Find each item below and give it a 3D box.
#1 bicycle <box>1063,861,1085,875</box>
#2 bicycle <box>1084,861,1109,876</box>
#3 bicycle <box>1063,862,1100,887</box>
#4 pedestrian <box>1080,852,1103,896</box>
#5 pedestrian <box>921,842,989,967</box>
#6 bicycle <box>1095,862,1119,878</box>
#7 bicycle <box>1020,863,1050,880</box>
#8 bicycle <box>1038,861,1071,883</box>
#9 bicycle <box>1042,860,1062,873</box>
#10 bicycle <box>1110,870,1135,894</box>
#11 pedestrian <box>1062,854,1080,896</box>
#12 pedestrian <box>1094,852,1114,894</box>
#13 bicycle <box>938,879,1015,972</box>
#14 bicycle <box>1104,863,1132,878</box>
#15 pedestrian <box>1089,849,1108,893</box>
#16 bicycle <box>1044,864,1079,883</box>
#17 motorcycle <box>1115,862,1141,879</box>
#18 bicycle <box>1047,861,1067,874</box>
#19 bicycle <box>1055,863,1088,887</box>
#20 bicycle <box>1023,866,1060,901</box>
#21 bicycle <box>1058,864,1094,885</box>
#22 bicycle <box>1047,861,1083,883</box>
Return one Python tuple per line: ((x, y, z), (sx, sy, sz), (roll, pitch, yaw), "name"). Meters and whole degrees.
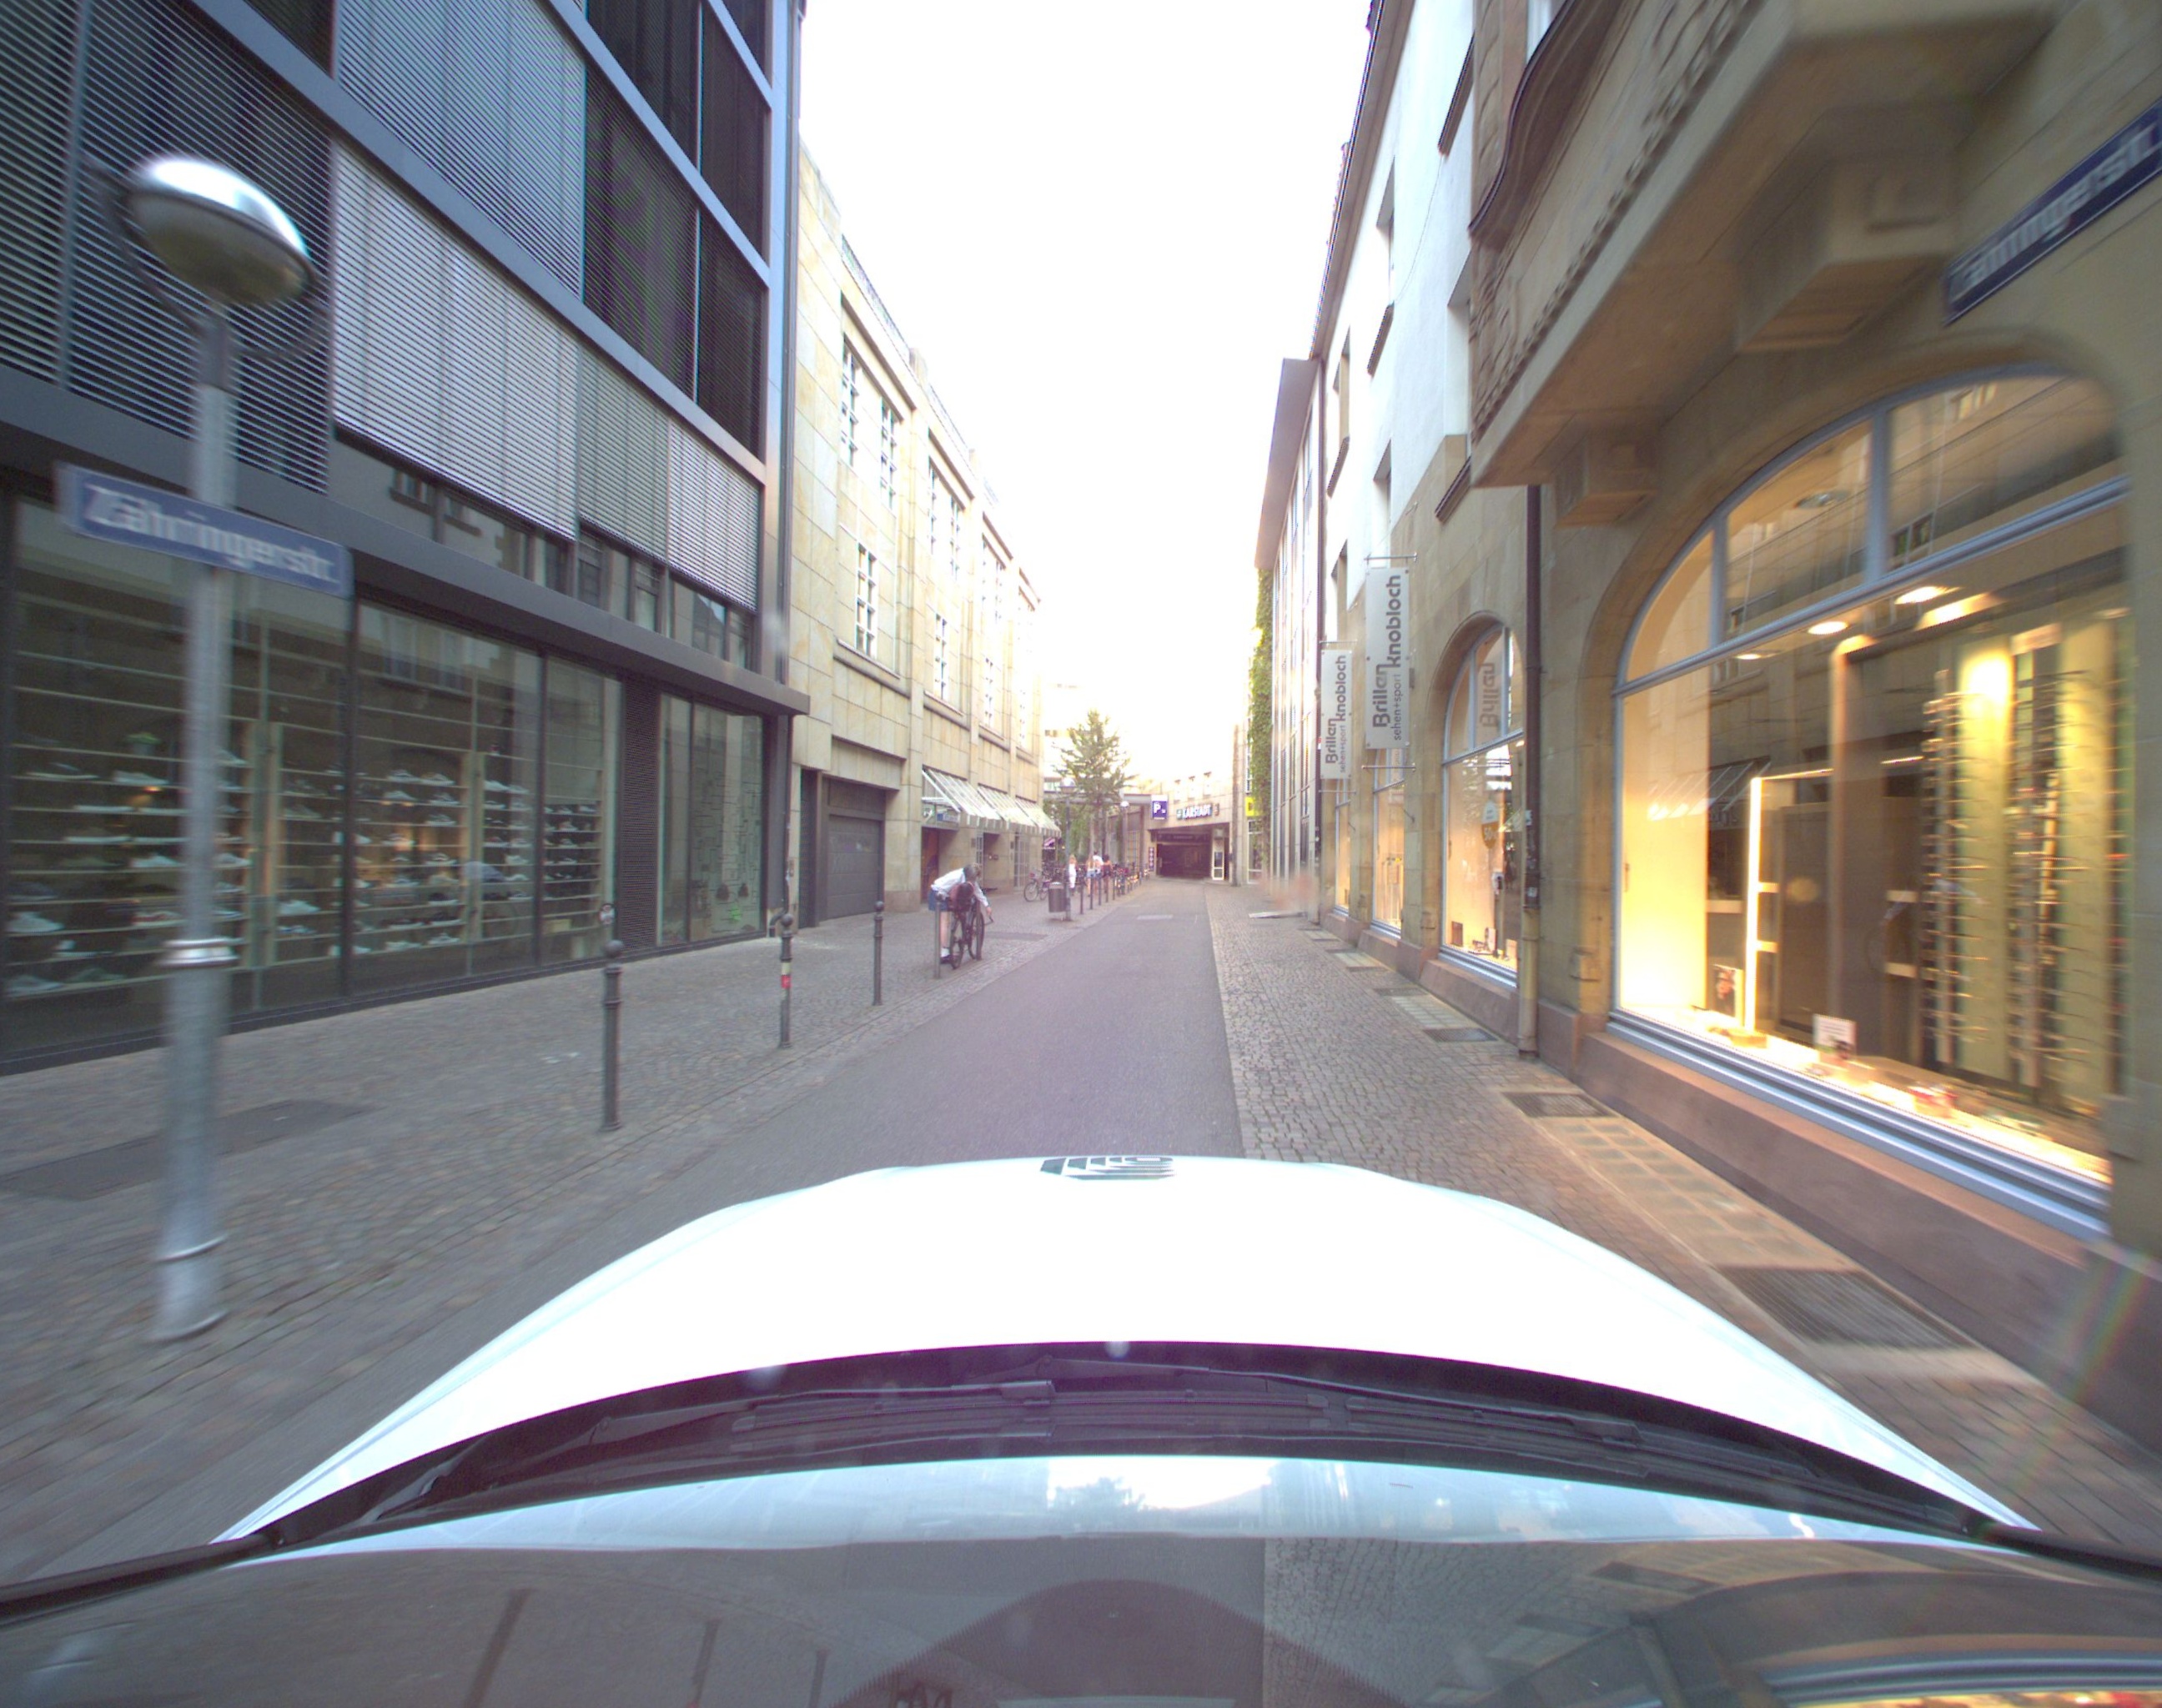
((-0.563, 1.154, 66.352), (1.775, 1.114, 0.540), (0, 0, -13), "bicycle")
((1.157, 1.083, 61.604), (1.775, 1.114, 0.540), (0, 0, -13), "bicycle")
((0.027, 1.028, 41.337), (1.769, 1.231, 0.531), (0, -1, -15), "bicycle")
((0.414, 0.795, 32.374), (0.802, 1.729, 0.950), (0, 0, 6), "pedestrian")
((-1.803, 0.701, 11.699), (0.763, 1.718, 0.593), (2, 0, 7), "pedestrian")
((1.820, 1.108, 56.854), (1.541, 1.049, 0.573), (0, 0, -13), "bicycle")
((-2.919, 1.101, 51.673), (1.828, 1.043, 0.531), (0, 0, -15), "bicycle")
((-1.493, 1.002, 45.899), (1.836, 1.225, 0.531), (0, -1, -15), "bicycle")
((-2.767, 1.177, 77.890), (1.775, 1.190, 0.584), (0, 0, -13), "bicycle")
((1.768, 1.187, 34.598), (0.488, 0.939, 1.668), (1, 0, 23), "bicycle")
((-0.391, 0.818, 32.513), (0.672, 1.664, 0.861), (0, 0, 3), "pedestrian")
((1.015, 0.793, 35.358), (0.781, 1.795, 0.974), (0, 0, 7), "pedestrian")
((-1.453, 0.968, 11.669), (0.529, 1.153, 1.919), (2, 0, 9), "bicycle")
((2.510, 1.137, 54.948), (1.850, 0.982, 0.461), (0, 0, -13), "bicycle")
((0.731, 0.706, 34.004), (0.738, 1.822, 0.880), (0, 0, 6), "pedestrian")
((-1.071, 1.082, 45.164), (1.897, 1.052, 0.531), (0, 0, -15), "bicycle")
((3.063, 1.068, 53.206), (1.664, 1.050, 0.461), (0, 0, -13), "motorcycle")
((-2.123, 1.167, 72.380), (1.773, 1.114, 0.541), (0, 0, -10), "bicycle")
((-0.507, 1.116, 42.694), (1.656, 1.231, 0.531), (0, -1, -15), "bicycle")
((-1.355, 0.988, 28.079), (0.517, 1.138, 1.774), (0, 0, 24), "bicycle")
((-0.274, 1.097, 43.566), (1.839, 1.122, 0.531), (0, 0, -15), "bicycle")
((-0.867, 0.998, 44.604), (1.875, 1.177, 0.531), (0, 0, -15), "bicycle")
